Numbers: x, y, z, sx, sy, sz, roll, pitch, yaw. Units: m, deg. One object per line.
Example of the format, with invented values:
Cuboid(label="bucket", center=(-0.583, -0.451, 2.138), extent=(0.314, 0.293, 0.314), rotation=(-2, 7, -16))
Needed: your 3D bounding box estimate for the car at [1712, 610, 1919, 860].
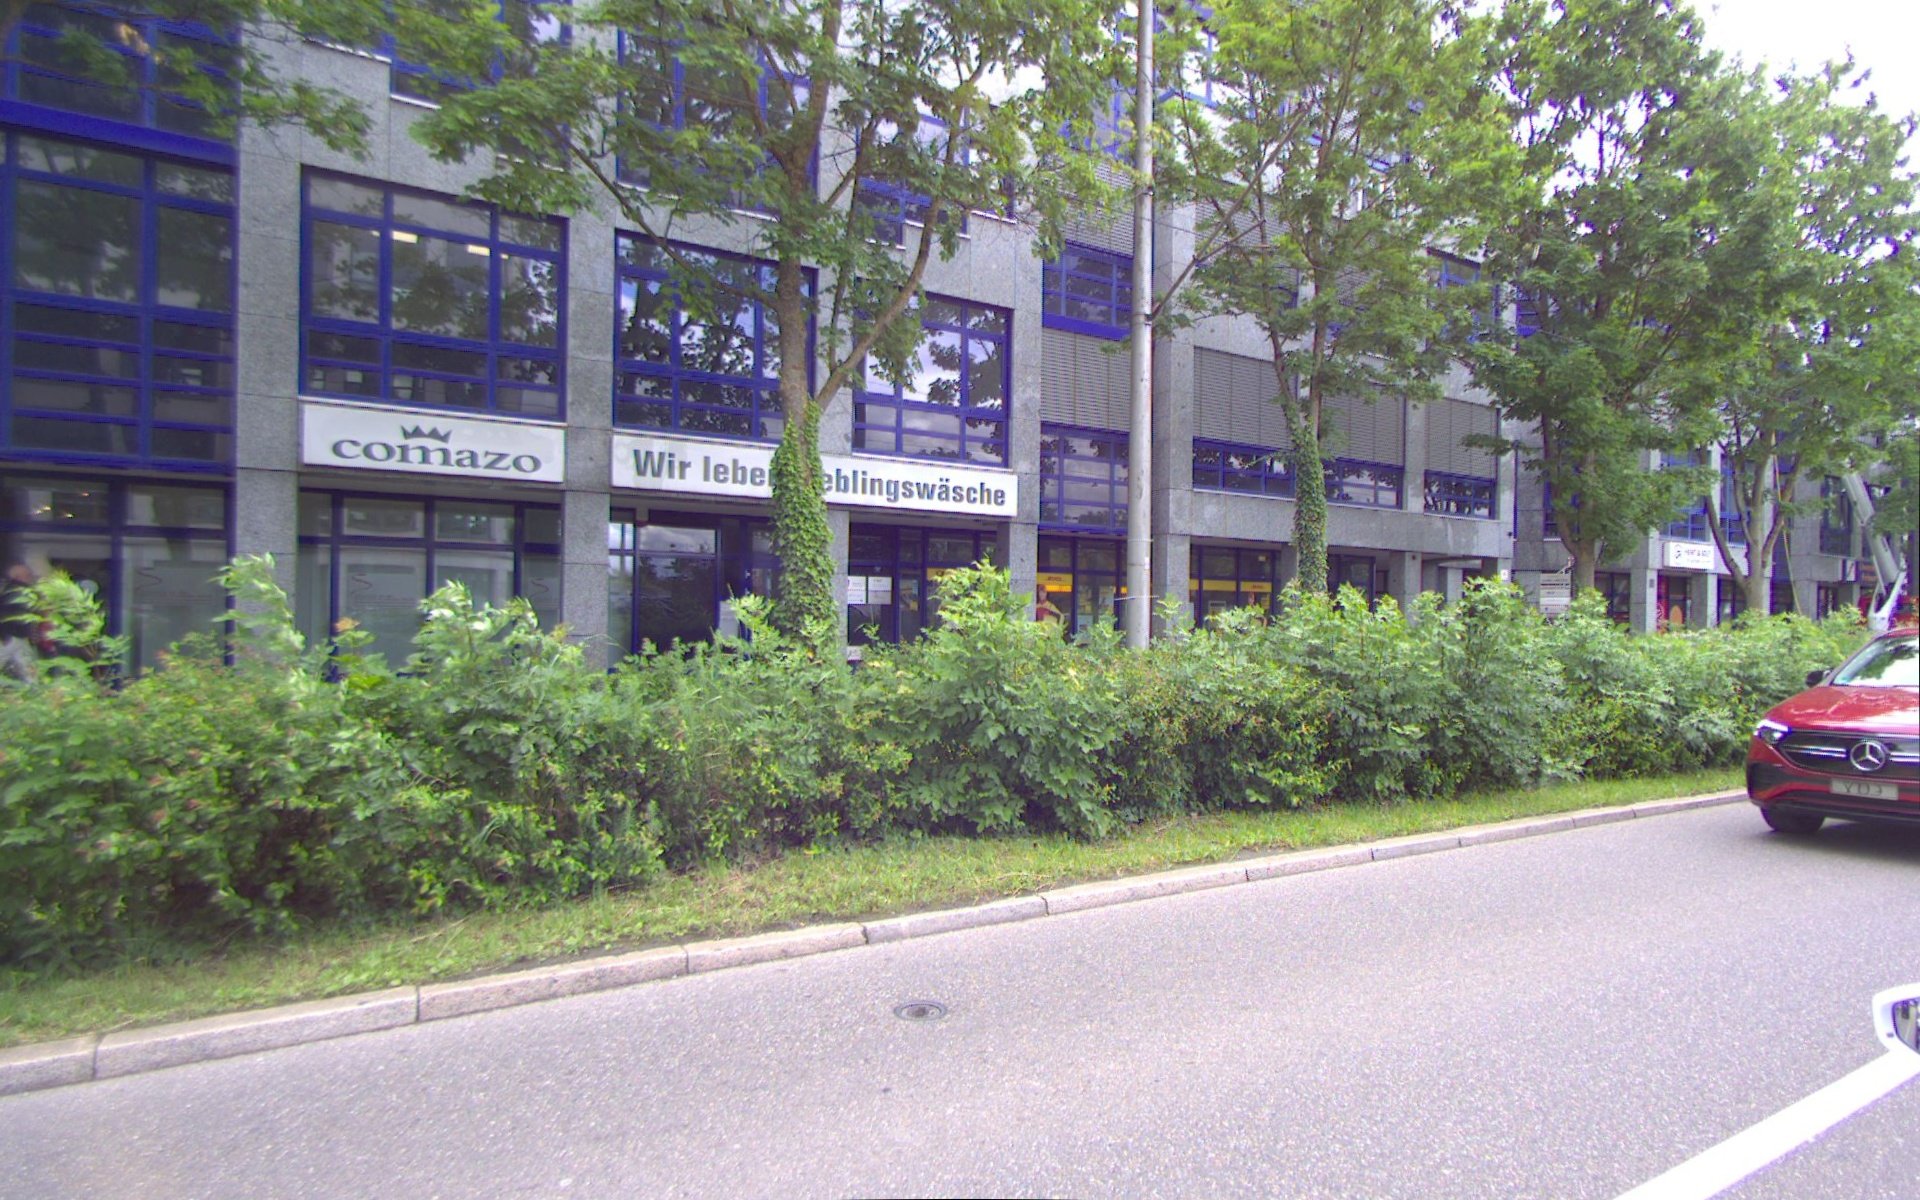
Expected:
Cuboid(label="car", center=(7.832, 0.935, 7.649), extent=(4.066, 1.601, 1.840), rotation=(2, -3, -29))

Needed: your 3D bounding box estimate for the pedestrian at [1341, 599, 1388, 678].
Cuboid(label="pedestrian", center=(10.084, 0.949, 25.060), extent=(0.723, 1.919, 0.771), rotation=(2, 0, -30))

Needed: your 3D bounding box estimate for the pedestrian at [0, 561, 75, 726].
Cuboid(label="pedestrian", center=(-11.255, 0.510, 12.094), extent=(0.723, 1.919, 0.770), rotation=(2, 0, -31))
